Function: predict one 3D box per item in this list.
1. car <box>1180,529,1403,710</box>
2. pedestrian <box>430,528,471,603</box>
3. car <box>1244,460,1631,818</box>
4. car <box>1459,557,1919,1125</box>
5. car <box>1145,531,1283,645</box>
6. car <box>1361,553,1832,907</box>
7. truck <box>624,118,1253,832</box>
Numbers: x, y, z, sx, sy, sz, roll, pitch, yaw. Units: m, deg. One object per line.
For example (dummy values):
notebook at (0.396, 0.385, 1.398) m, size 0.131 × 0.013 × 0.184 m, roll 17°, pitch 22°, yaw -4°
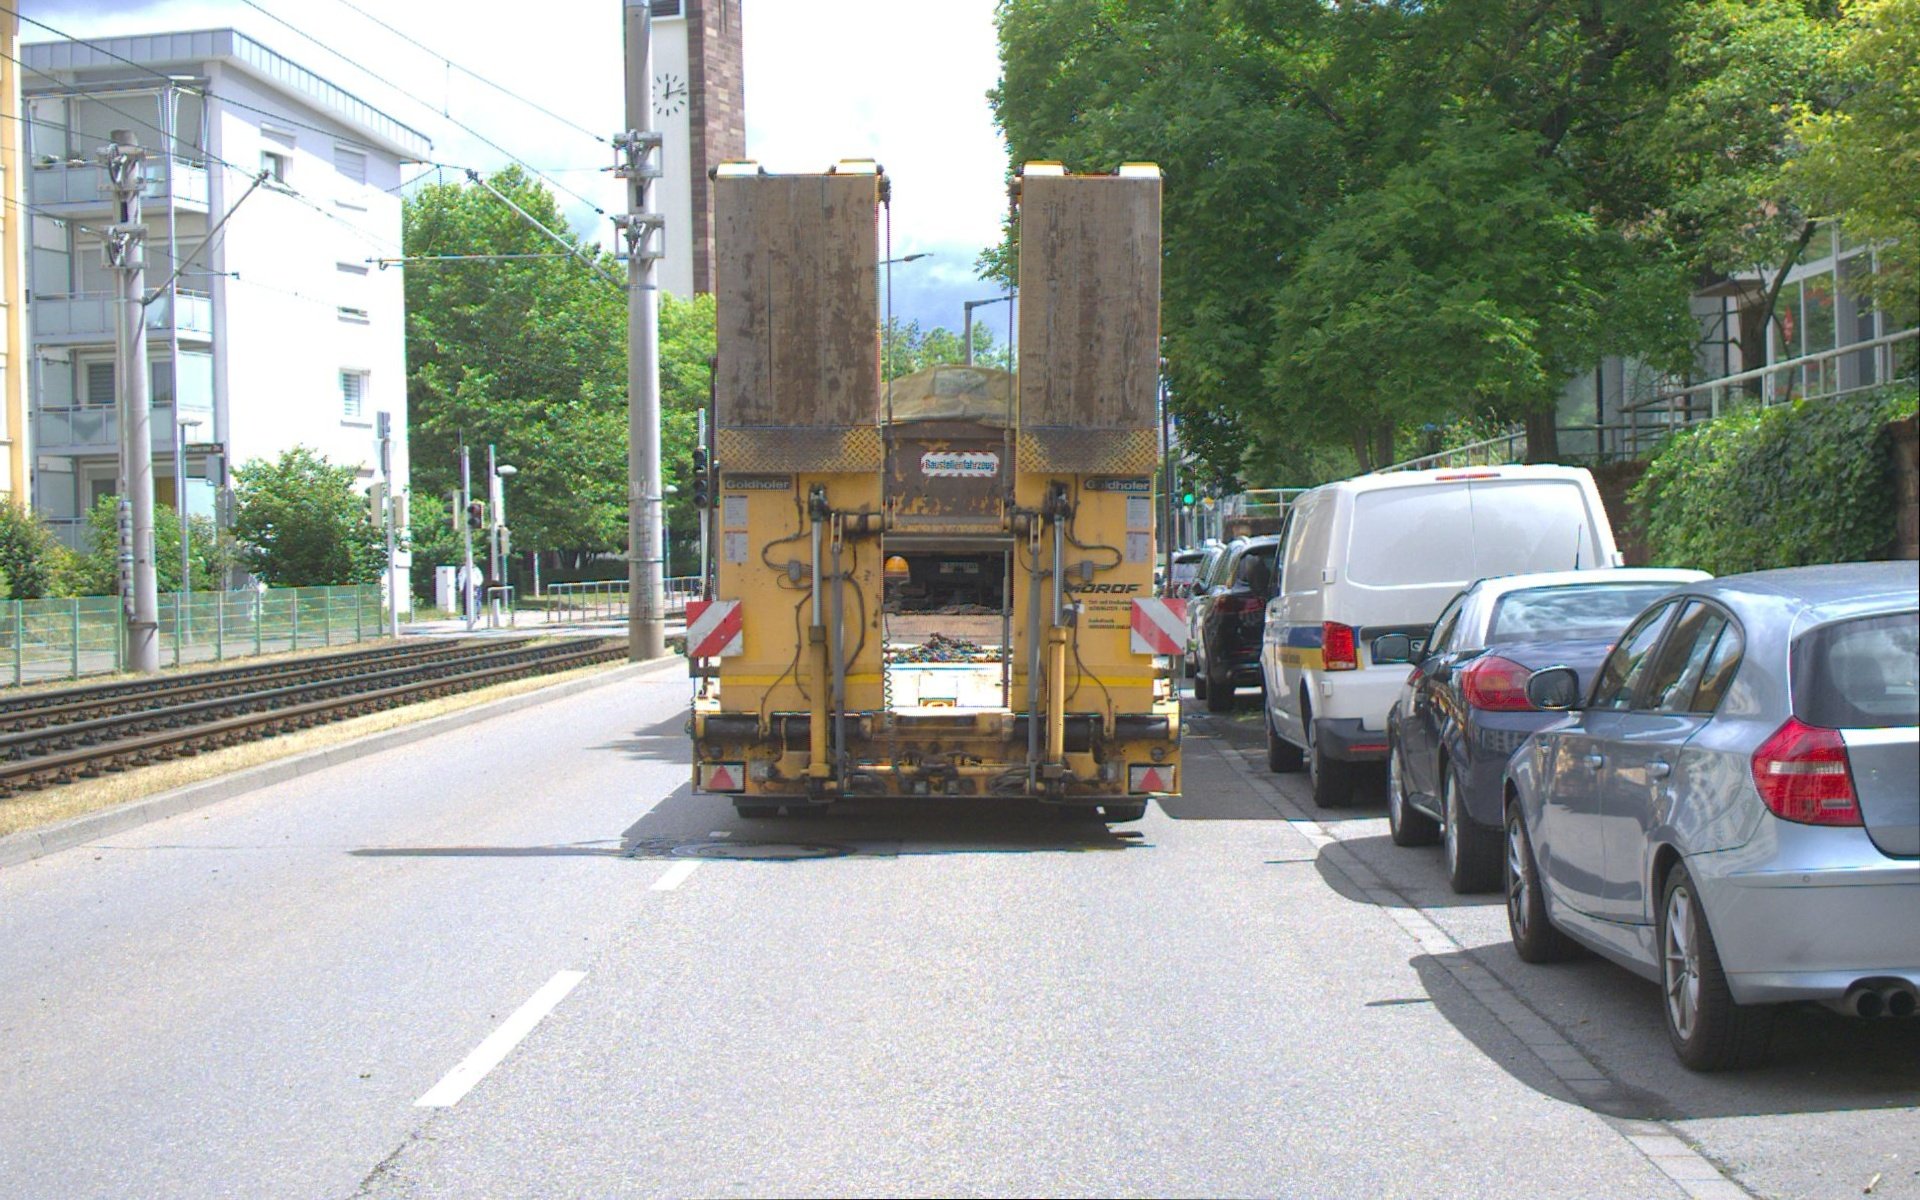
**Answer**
car at (3.167, 0.132, 33.567) m, size 1.799 × 1.617 × 4.292 m, roll -1°, pitch 1°, yaw 1°
pedestrian at (-13.786, -0.933, 93.036) m, size 0.951 × 2.007 × 1.179 m, roll -1°, pitch 1°, yaw -14°
car at (2.880, 0.166, 21.655) m, size 1.799 × 1.961 × 4.590 m, roll -2°, pitch 1°, yaw 1°
car at (2.792, 0.607, 11.060) m, size 1.690 × 1.400 × 4.069 m, roll -2°, pitch 1°, yaw -1°
car at (3.788, -0.218, 51.848) m, size 1.799 × 1.617 × 4.292 m, roll -1°, pitch 1°, yaw 1°
car at (2.882, 0.523, 16.243) m, size 1.621 × 1.400 × 3.649 m, roll -2°, pitch 1°, yaw 2°
truck at (-0.168, -0.772, 23.526) m, size 3.124 × 3.552 × 12.460 m, roll -1°, pitch 1°, yaw -1°
